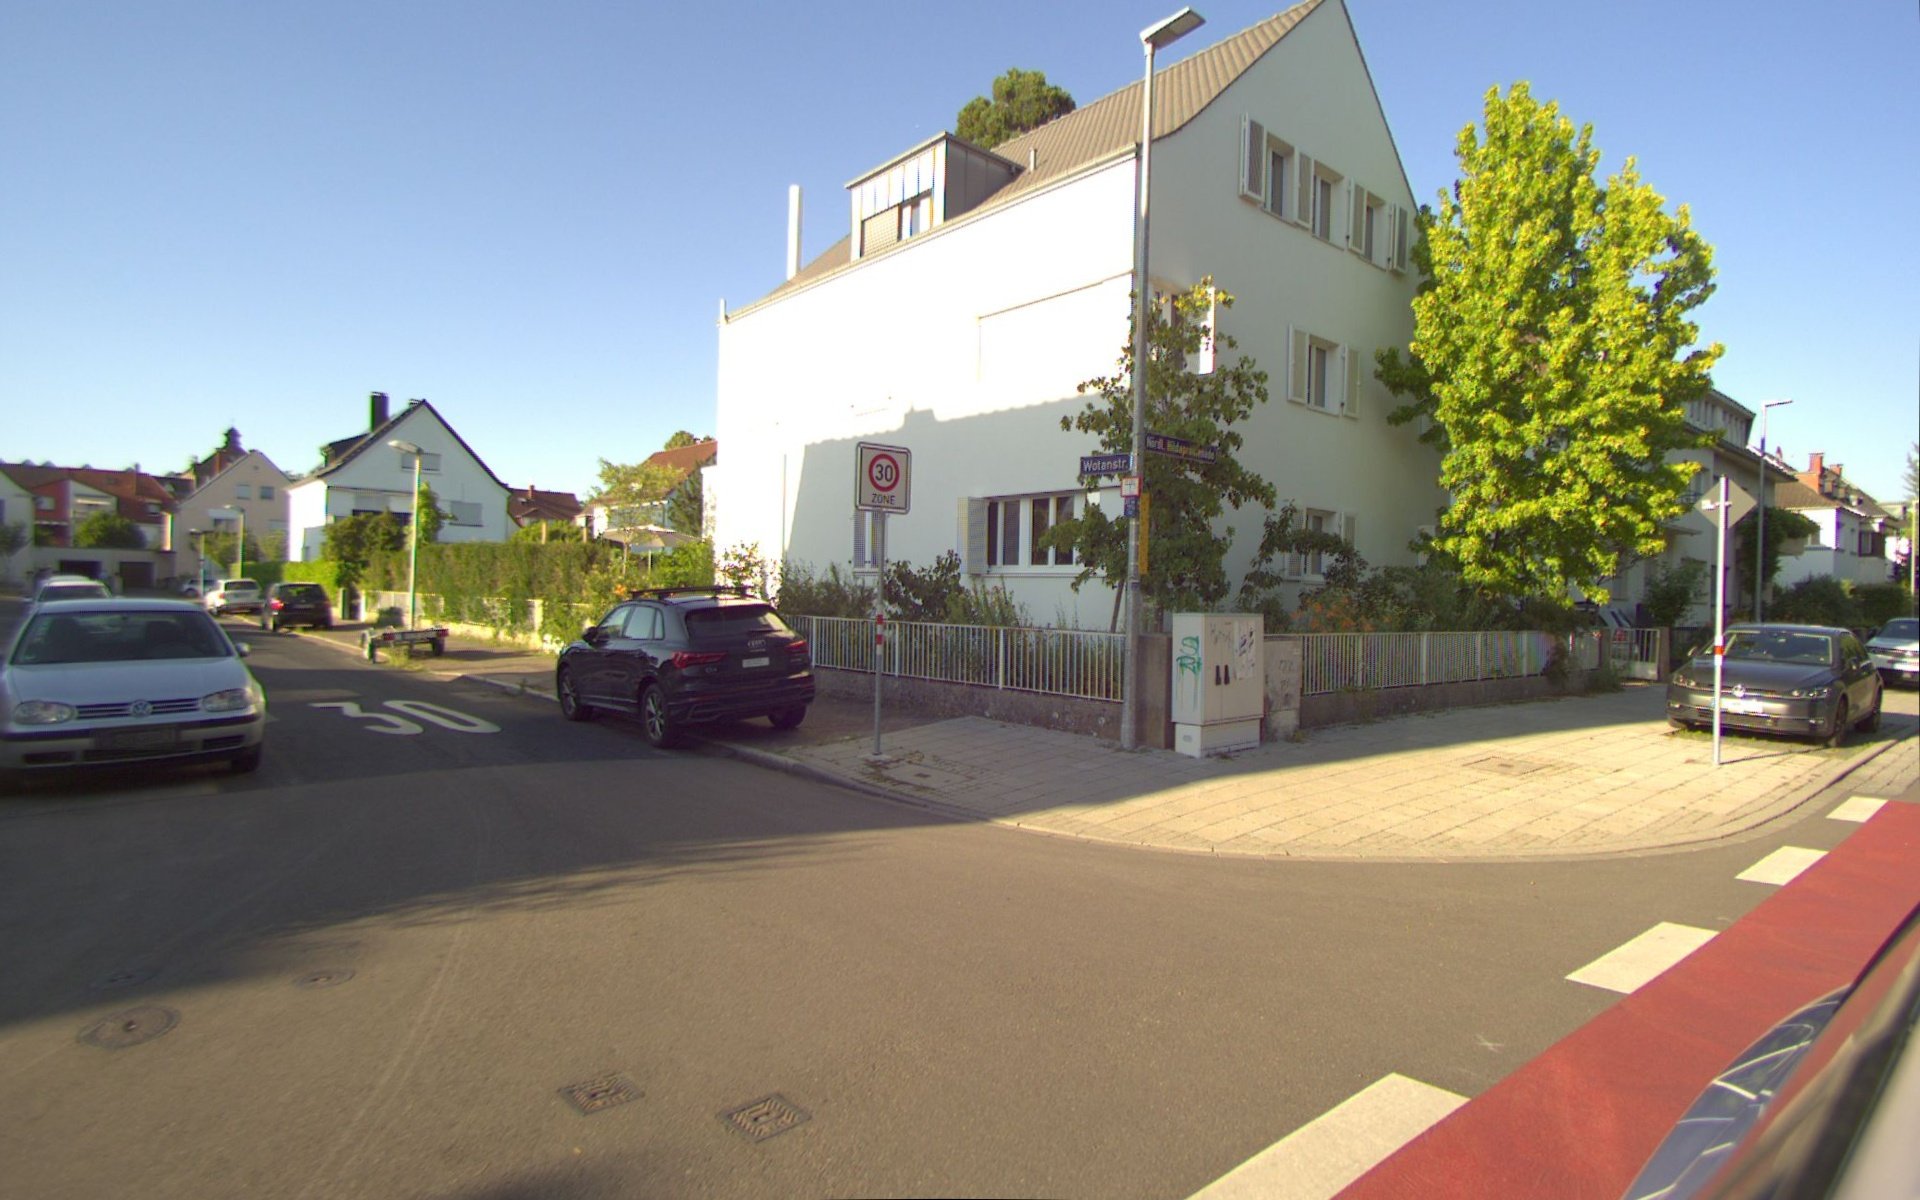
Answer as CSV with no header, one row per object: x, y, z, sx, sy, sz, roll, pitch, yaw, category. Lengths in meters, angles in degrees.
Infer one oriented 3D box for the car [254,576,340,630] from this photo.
-21.296,0.056,32.434,1.770,1.554,4.388,1,1,-40,car

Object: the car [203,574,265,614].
-30.470,-0.288,42.424,1.770,1.554,4.388,1,1,-40,car

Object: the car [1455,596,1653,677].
14.744,0.885,25.250,3.983,1.869,1.786,-1,-3,44,car

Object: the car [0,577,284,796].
-7.396,0.597,8.885,1.862,1.489,4.076,1,-1,-42,car

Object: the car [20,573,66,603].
-49.657,-0.627,54.803,1.771,1.554,4.122,1,-1,-42,car

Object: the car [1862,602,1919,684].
22.459,1.020,23.208,4.492,1.729,1.911,2,2,-39,car

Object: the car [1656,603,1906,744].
11.046,0.910,13.523,4.049,1.501,1.798,3,2,-40,car

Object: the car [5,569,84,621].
-29.146,-0.141,32.244,1.771,1.554,4.122,1,-1,-42,car

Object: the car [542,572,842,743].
-3.379,0.582,12.248,1.862,1.710,4.094,1,-1,-42,car

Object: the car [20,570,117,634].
-23.327,0.061,26.482,1.771,1.554,4.122,1,-1,-42,car

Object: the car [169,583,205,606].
-56.724,-0.435,74.246,1.770,1.554,4.387,1,1,-41,car

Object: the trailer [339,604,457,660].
-12.129,0.650,21.793,1.647,1.032,2.612,0,1,-43,trailer

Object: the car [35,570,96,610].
-36.616,-0.362,41.510,1.770,1.554,4.387,1,-1,-40,car
